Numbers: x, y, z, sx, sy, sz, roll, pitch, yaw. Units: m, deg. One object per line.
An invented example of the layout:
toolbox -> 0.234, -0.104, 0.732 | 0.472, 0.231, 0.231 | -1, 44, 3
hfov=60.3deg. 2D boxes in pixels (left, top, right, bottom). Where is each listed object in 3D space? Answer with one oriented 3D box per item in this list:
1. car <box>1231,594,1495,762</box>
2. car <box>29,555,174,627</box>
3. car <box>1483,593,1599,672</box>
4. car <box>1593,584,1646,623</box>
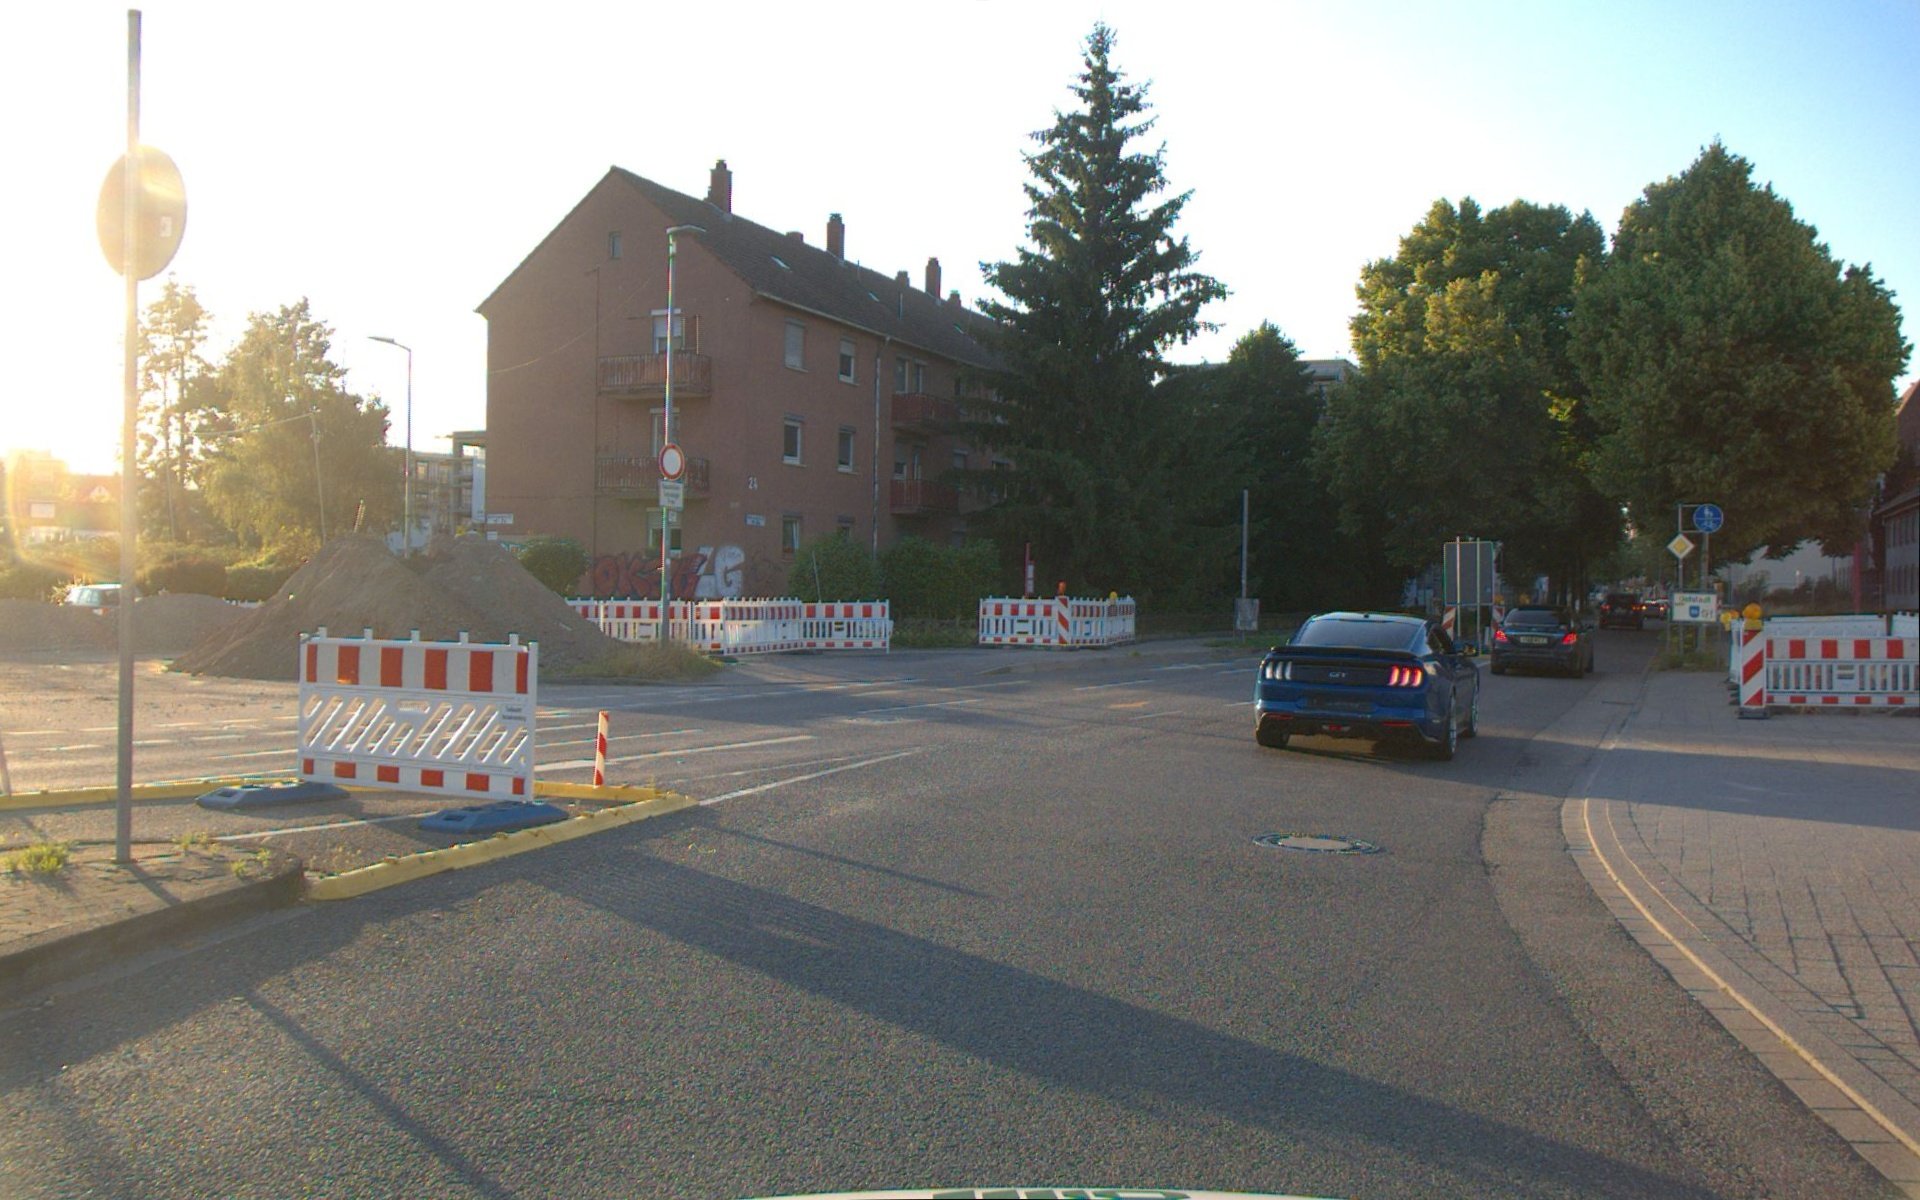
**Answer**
car -> 4.358, 0.692, 17.301 | 1.912, 1.365, 4.669 | 4, 2, 23
car -> -21.823, -0.233, 41.997 | 3.928, 1.735, 1.988 | 1, 0, 42
car -> 12.187, 0.618, 34.523 | 1.912, 1.452, 4.428 | 2, 1, 24
car -> 29.598, 0.135, 74.153 | 1.913, 1.598, 4.427 | 2, 2, 25
